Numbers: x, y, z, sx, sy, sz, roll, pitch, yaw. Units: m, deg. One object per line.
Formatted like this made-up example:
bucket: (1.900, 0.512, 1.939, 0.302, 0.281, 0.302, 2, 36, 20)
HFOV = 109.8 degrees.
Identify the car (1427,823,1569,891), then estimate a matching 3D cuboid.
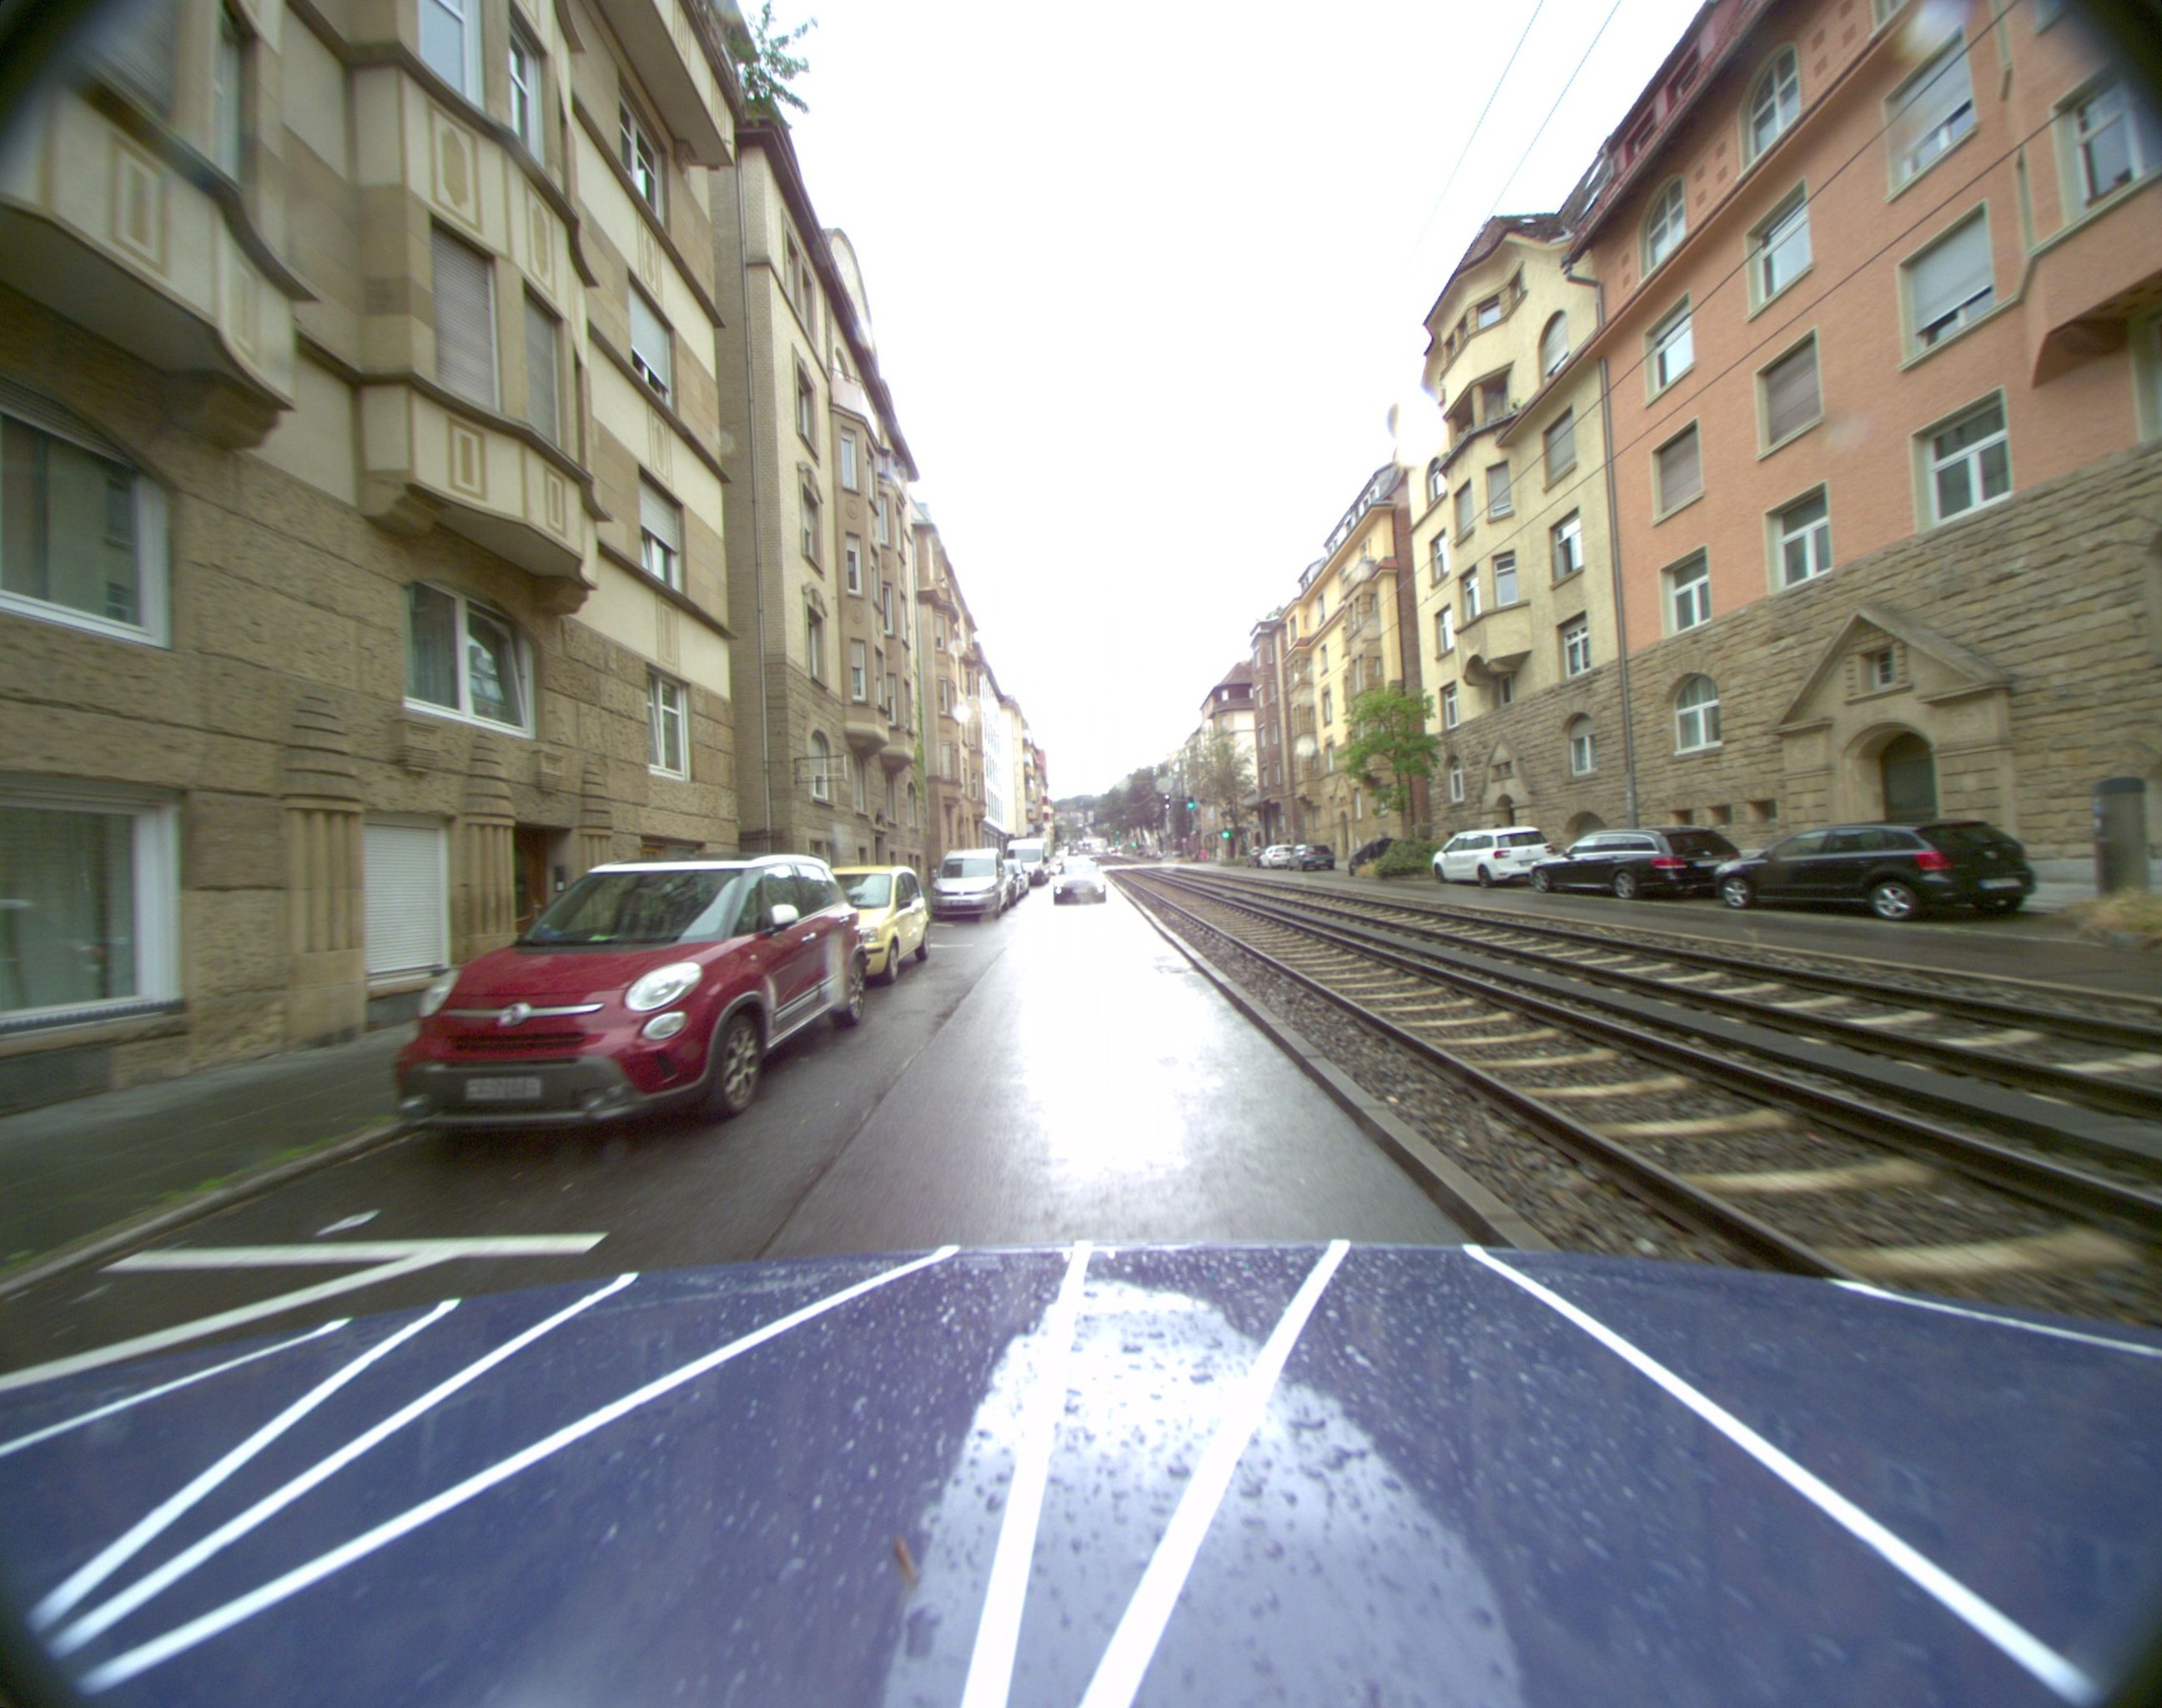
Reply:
car: (12.244, 0.059, 22.654, 1.759, 1.663, 4.259, -5, 1, 0)

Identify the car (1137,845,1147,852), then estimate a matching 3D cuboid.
car: (12.736, -1.241, 159.162, 1.794, 1.339, 4.257, -2, 1, 0)

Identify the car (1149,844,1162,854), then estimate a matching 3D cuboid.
car: (12.631, -0.830, 128.725, 1.794, 1.609, 4.257, -2, 1, 0)

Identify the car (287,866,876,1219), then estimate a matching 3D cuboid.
car: (-2.970, 0.951, 5.710, 1.774, 1.592, 3.999, -1, 0, -1)

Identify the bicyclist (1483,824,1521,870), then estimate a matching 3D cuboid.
bicyclist: (15.091, -0.264, 27.226, 0.894, 1.592, 0.774, -2, 1, 1)

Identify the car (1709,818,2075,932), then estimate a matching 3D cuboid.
car: (12.468, 0.264, 12.086, 1.760, 1.396, 3.694, -5, 1, -2)

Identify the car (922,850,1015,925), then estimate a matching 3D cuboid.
car: (-2.930, 0.800, 20.563, 1.811, 1.758, 3.962, -2, 0, 1)

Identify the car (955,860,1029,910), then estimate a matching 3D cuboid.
car: (-2.901, 0.975, 25.607, 1.931, 1.380, 3.982, -3, 0, 1)

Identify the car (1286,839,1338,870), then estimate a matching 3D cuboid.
car: (12.500, -0.003, 41.312, 1.717, 1.473, 3.712, -5, 1, 2)

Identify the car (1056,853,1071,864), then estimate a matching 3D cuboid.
car: (-2.442, 0.621, 106.014, 1.794, 1.459, 4.257, -2, 1, 1)

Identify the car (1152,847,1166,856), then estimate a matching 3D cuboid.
car: (12.027, -0.412, 117.481, 1.794, 1.339, 4.257, -2, 1, 0)

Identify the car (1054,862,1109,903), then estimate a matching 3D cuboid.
car: (0.042, 0.929, 26.273, 1.737, 1.262, 4.258, -1, 0, 1)

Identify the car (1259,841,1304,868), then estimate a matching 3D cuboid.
car: (12.439, -0.014, 47.374, 1.759, 1.443, 4.043, -5, 1, 2)

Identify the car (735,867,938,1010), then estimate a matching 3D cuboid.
car: (-3.166, 1.008, 10.594, 1.632, 1.502, 3.531, -3, 0, -1)

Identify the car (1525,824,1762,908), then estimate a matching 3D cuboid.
car: (12.224, 0.207, 16.991, 1.760, 1.482, 4.597, -4, 1, -1)

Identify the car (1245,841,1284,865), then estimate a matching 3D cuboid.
car: (12.565, -0.089, 52.138, 1.759, 1.419, 3.712, -5, 1, 2)

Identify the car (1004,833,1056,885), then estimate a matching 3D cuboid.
car: (-2.704, 0.250, 41.542, 1.991, 2.520, 6.154, -3, 0, 3)

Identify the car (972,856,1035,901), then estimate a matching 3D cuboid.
car: (-2.980, 0.915, 30.023, 1.935, 1.516, 4.058, -3, 0, 1)
